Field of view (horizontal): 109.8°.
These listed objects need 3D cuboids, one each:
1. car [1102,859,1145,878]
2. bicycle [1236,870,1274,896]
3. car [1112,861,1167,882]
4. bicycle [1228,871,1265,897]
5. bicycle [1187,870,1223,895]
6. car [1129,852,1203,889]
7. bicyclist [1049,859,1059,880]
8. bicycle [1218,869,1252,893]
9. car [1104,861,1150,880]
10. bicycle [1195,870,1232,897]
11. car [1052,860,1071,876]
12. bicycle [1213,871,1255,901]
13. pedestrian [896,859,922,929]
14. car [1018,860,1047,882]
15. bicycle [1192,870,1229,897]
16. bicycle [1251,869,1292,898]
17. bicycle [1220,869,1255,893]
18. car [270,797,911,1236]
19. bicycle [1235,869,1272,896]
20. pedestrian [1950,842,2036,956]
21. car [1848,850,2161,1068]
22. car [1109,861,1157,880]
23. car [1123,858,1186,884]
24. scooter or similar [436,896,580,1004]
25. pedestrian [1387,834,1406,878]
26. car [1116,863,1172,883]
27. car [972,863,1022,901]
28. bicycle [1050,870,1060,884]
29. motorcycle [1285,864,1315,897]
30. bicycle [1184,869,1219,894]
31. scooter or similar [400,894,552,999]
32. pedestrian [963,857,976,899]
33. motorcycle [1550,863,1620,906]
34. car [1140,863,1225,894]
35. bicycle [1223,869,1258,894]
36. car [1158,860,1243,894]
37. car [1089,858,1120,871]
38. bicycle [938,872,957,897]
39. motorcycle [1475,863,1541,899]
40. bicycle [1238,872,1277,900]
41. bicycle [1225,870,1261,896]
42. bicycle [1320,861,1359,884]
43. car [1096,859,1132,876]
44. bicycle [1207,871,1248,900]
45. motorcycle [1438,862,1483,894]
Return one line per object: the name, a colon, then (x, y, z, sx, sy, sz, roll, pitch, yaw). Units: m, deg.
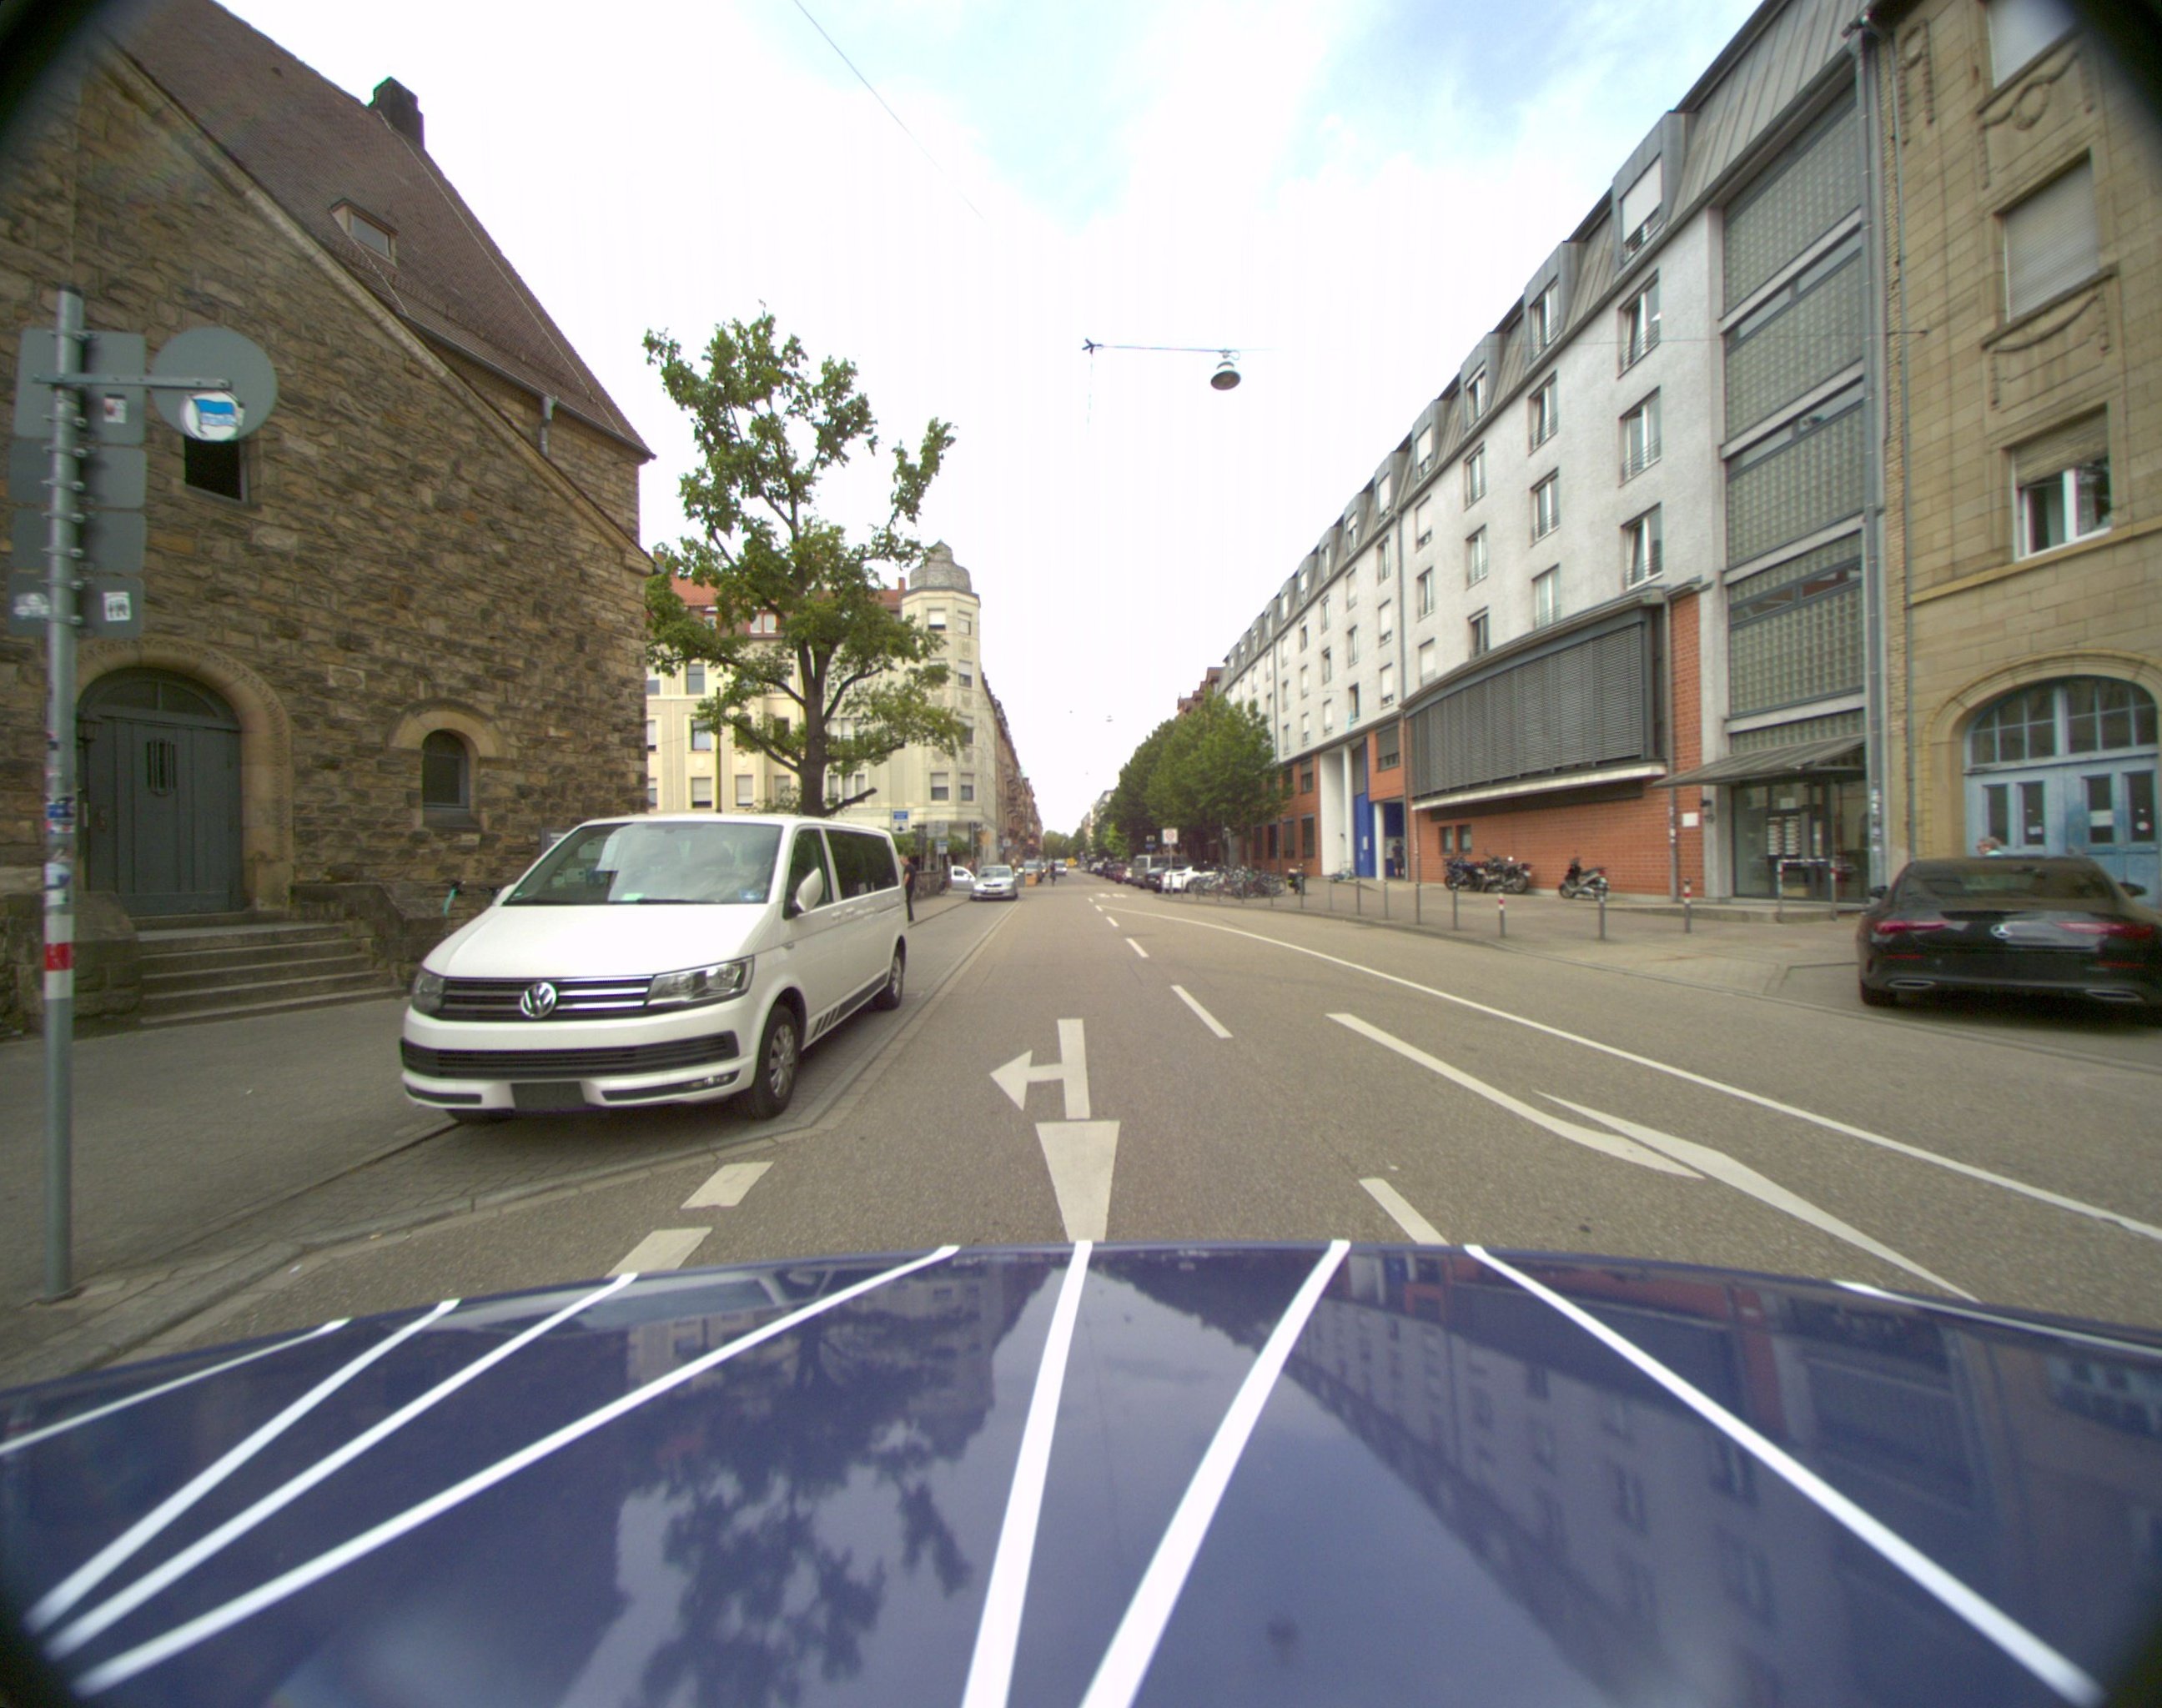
car: (4.251, 1.446, 75.630, 4.052, 1.846, 1.687, -1, -1, -35)
bicycle: (6.950, 1.158, 30.401, 1.409, 1.020, 0.402, -2, 0, 0)
car: (4.491, 1.345, 58.512, 4.013, 1.445, 1.687, -1, -1, -35)
bicycle: (6.891, 1.247, 31.703, 1.409, 1.020, 0.402, -2, 0, 0)
bicycle: (5.396, 1.240, 33.111, 1.409, 1.020, 0.402, -4, 0, 0)
car: (5.061, 0.939, 45.230, 4.012, 1.986, 1.857, -3, 1, -33)
bicyclist: (-1.825, 1.048, 51.945, 0.649, 1.408, 1.094, -1, 0, -1)
bicycle: (6.873, 1.203, 33.949, 1.409, 1.020, 0.402, -2, 0, 0)
car: (4.186, 1.510, 69.298, 4.013, 1.558, 1.687, -1, -1, -35)
bicycle: (5.445, 1.213, 31.197, 1.409, 1.032, 0.402, -4, 0, 0)
car: (-2.406, 1.686, 93.823, 1.942, 1.912, 4.007, -2, -1, 2)
bicycle: (5.692, 1.199, 28.309, 1.409, 1.032, 0.402, -4, 0, 0)
pedestrian: (-4.350, 0.999, 19.205, 0.510, 1.709, 0.530, -1, 0, -24)
car: (-3.813, 1.330, 60.072, 1.853, 1.661, 4.007, -2, -1, 2)
bicycle: (5.423, 1.234, 31.838, 1.409, 1.020, 0.402, -4, 0, 0)
bicycle: (7.186, 1.110, 28.628, 1.409, 1.020, 0.402, -2, 0, 0)
bicycle: (6.889, 1.187, 33.473, 1.409, 1.020, 0.402, -2, 0, 0)
car: (-2.829, 0.748, 6.096, 2.020, 2.017, 5.122, 0, 0, -3)
bicycle: (7.001, 1.165, 30.888, 1.409, 1.020, 0.402, -2, 0, 0)
pedestrian: (12.324, 0.589, 10.274, 0.662, 1.477, 0.508, -1, 0, -15)
car: (9.439, 0.818, 7.732, 4.679, 1.401, 1.895, -4, 0, -40)
car: (4.610, 1.454, 66.908, 4.013, 1.558, 1.687, -1, -1, -35)
car: (4.925, 1.149, 50.795, 4.013, 1.605, 1.708, -1, -1, -35)
scooter or similar: (-7.220, 1.162, 9.652, 0.545, 1.200, 1.444, -1, 0, 12)
pedestrian: (14.641, 0.089, 35.294, 0.729, 2.002, 0.783, -1, 0, 18)
car: (4.672, 1.396, 56.304, 4.013, 1.381, 1.592, -1, -1, -35)
car: (-3.449, 1.116, 31.808, 1.760, 1.459, 4.418, -1, -1, -3)
bicycle: (-1.776, 1.536, 51.933, 0.586, 0.927, 1.783, -2, -1, -1)
motorcycle: (8.349, 0.996, 29.007, 0.585, 1.165, 1.779, -3, 0, 0)
bicycle: (5.375, 1.223, 33.918, 1.409, 1.020, 0.402, -4, 0, 0)
scooter or similar: (-7.843, 1.153, 9.930, 0.545, 1.200, 1.483, -1, 0, 18)
pedestrian: (-4.658, 0.992, 31.669, 0.468, 1.725, 0.410, -1, 0, -2)
motorcycle: (13.123, 0.781, 19.847, 0.585, 1.042, 1.793, -3, 0, -1)
car: (5.300, 1.227, 39.380, 4.324, 1.460, 1.713, -1, 0, -35)
bicycle: (6.887, 1.205, 32.882, 1.409, 1.020, 0.402, -2, 0, 0)
car: (5.839, 1.094, 36.974, 4.013, 1.536, 1.598, -1, 0, -33)
car: (3.327, 1.461, 106.849, 4.013, 1.746, 1.687, -1, -1, -35)
bicycle: (-6.094, 1.363, 34.826, 0.523, 1.098, 1.978, -1, -1, -1)
motorcycle: (13.204, 0.809, 23.554, 0.585, 1.042, 1.965, -3, 0, -13)
bicycle: (6.946, 1.262, 29.865, 1.409, 1.020, 0.402, -2, 0, 0)
bicycle: (6.874, 1.221, 32.188, 1.409, 1.020, 0.402, -2, 0, 0)
bicycle: (12.569, 0.918, 36.992, 1.614, 0.920, 0.932, -7, -1, 10)
car: (3.878, 1.540, 88.747, 4.013, 1.846, 1.687, -1, -1, -35)
bicycle: (5.625, 1.209, 29.200, 1.409, 1.032, 0.402, -4, 0, 0)
motorcycle: (12.944, 0.796, 25.964, 0.585, 1.042, 1.657, -3, 0, -3)
